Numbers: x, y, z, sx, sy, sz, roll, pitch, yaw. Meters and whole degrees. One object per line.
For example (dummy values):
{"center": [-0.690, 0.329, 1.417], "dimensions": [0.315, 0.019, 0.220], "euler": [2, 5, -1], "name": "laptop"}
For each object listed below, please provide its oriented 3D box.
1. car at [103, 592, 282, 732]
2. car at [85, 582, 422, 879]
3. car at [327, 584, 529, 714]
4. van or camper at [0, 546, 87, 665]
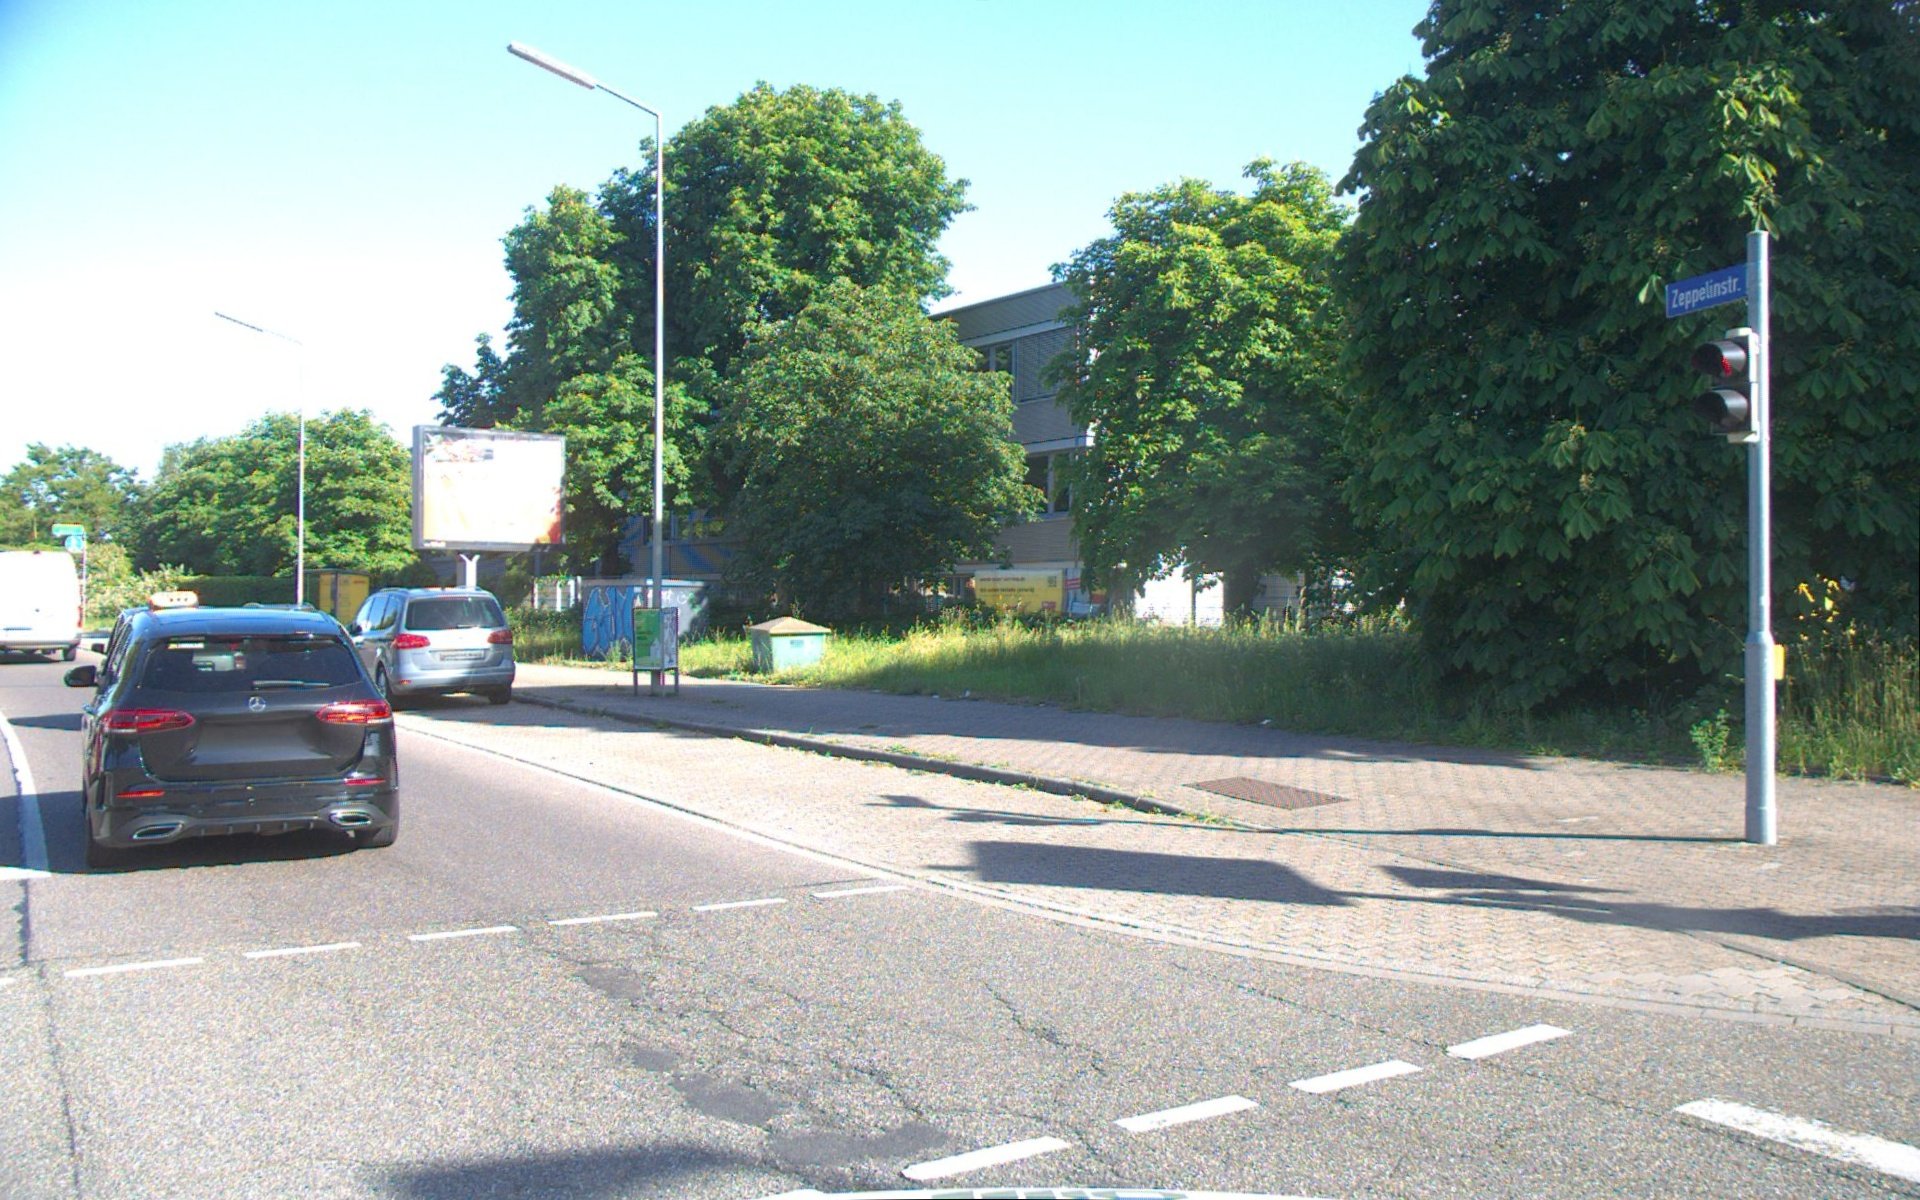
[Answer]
{"center": [-10.030, 0.761, 21.869], "dimensions": [1.778, 1.669, 3.976], "euler": [0, -1, -20], "name": "car"}
{"center": [-4.913, 0.725, 11.188], "dimensions": [1.750, 1.620, 3.951], "euler": [1, -1, -28], "name": "car"}
{"center": [-8.198, 0.678, 25.230], "dimensions": [1.855, 1.752, 4.561], "euler": [-2, 1, -32], "name": "car"}
{"center": [-24.171, 0.102, 42.015], "dimensions": [2.212, 2.787, 6.980], "euler": [1, 0, -39], "name": "van or camper"}
